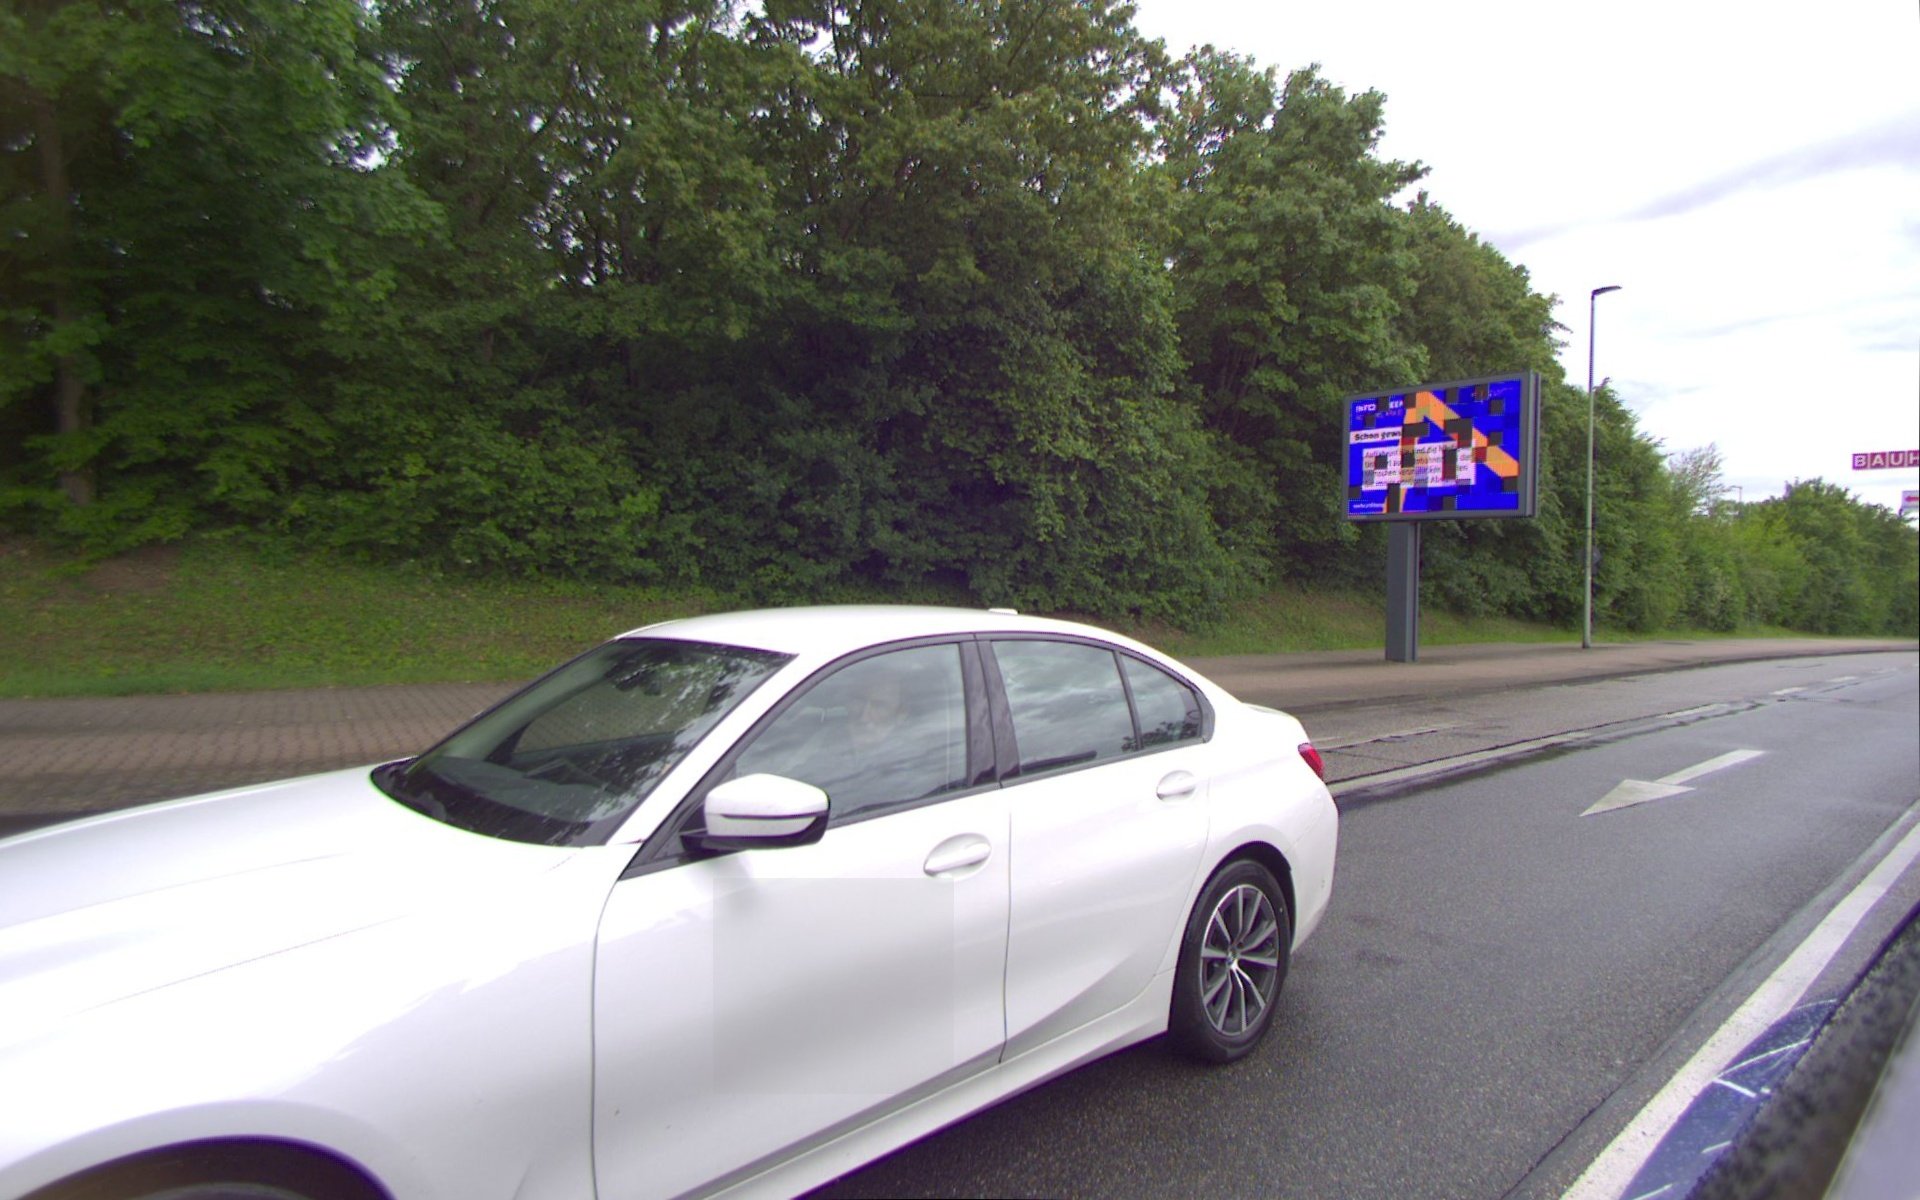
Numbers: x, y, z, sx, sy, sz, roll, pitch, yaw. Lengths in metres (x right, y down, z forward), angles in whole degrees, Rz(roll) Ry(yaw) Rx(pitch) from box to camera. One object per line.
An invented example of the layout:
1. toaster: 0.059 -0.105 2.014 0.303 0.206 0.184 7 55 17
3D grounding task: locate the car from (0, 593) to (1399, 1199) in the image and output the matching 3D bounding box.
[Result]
1. car: -0.569 0.730 3.068 4.600 1.475 1.782 -1 1 -42
